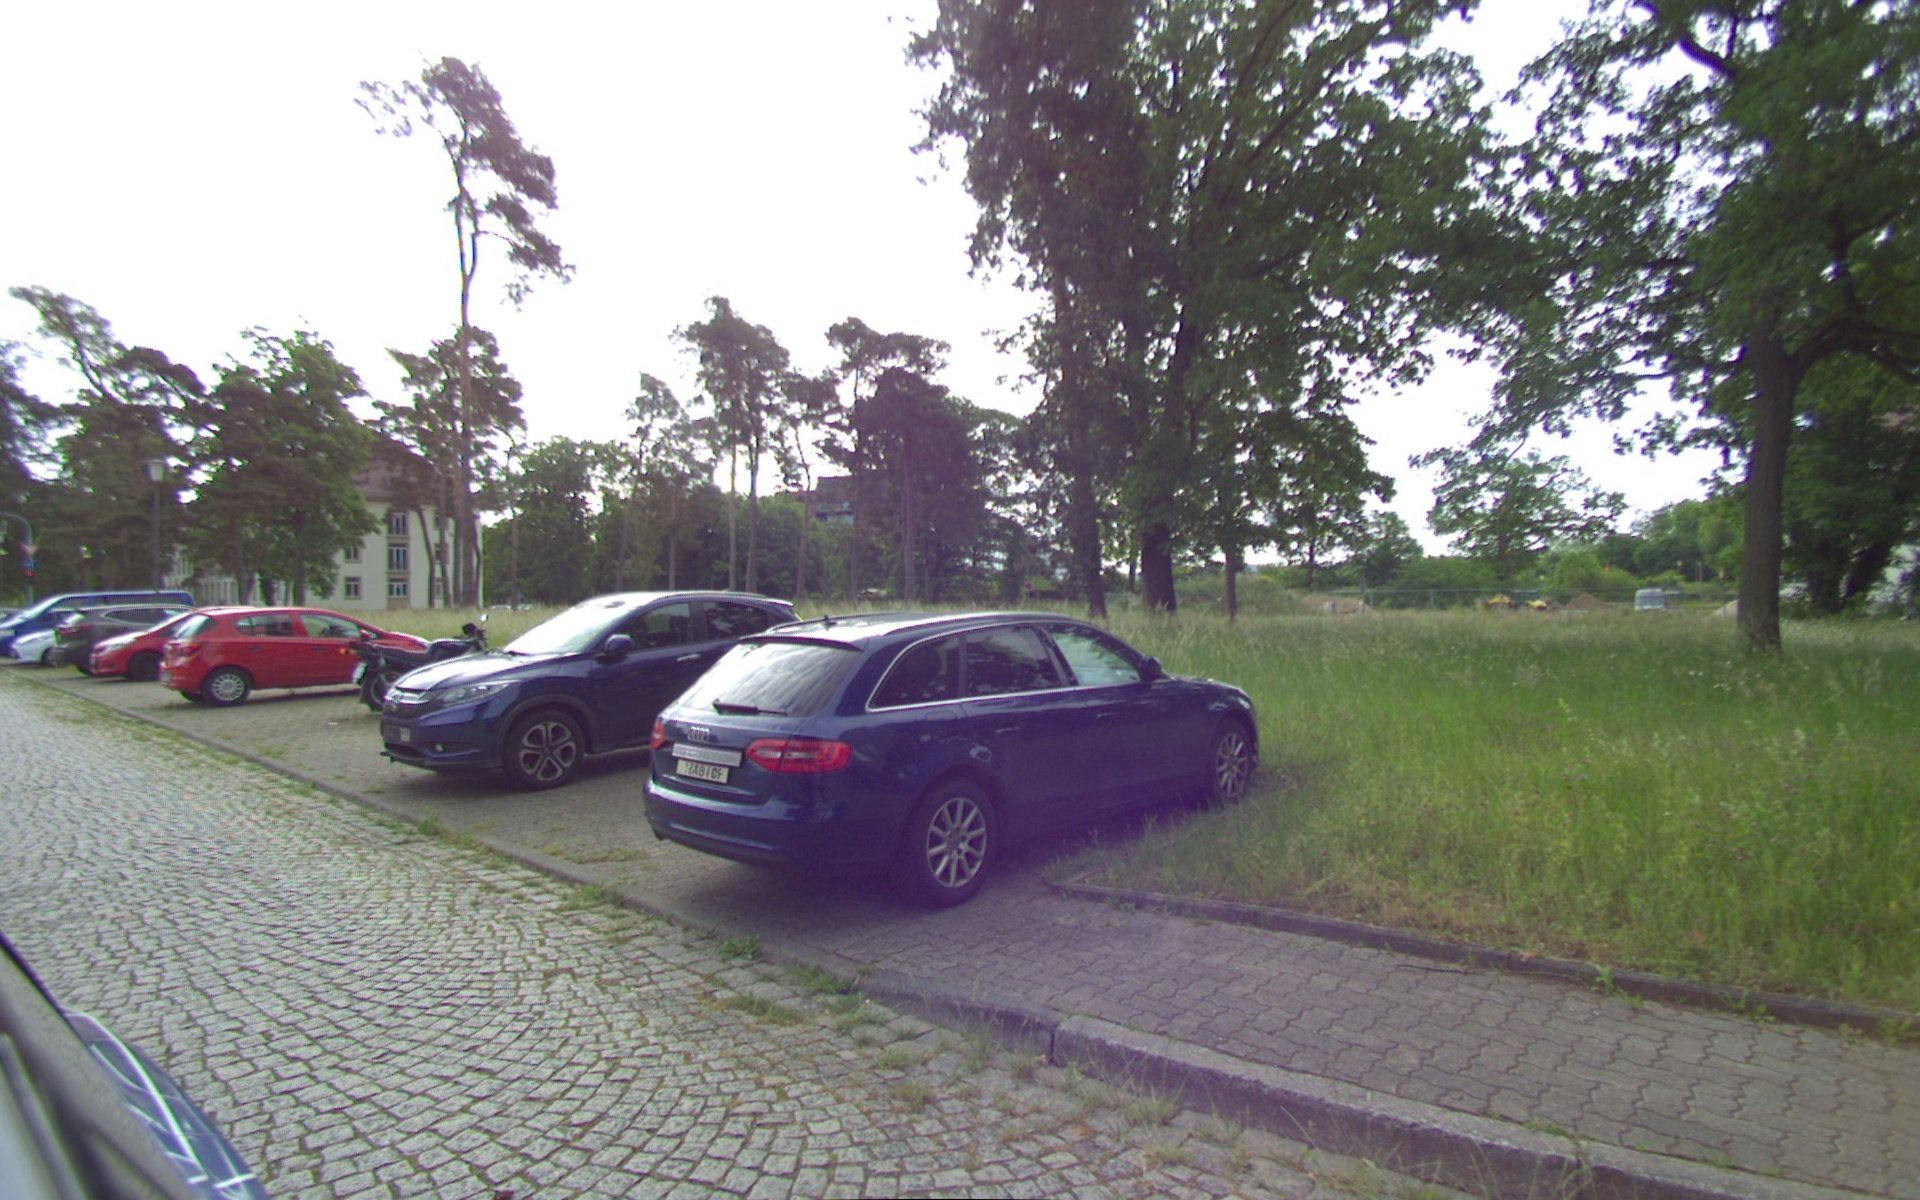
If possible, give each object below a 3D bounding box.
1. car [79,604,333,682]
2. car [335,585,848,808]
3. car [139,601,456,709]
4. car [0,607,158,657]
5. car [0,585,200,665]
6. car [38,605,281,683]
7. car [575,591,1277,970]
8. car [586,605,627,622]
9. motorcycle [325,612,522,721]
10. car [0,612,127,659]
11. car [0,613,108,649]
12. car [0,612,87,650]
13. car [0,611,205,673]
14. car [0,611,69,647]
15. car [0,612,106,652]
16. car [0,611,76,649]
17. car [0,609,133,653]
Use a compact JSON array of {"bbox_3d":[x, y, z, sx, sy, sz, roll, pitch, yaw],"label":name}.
[{"bbox_3d":[-16.252,0.858,21.975,1.906,1.522,4.123,-1,-1,40],"label":"car"},{"bbox_3d":[-3.243,0.693,9.597,1.886,1.589,4.185,-1,1,40],"label":"car"},{"bbox_3d":[-10.766,0.798,16.662,1.903,1.536,4.014,-1,-1,40],"label":"car"},{"bbox_3d":[-28.959,1.010,33.132,1.845,1.508,4.024,-1,-1,42],"label":"car"},{"bbox_3d":[-25.228,0.689,29.368,2.114,2.138,4.732,-1,-1,41],"label":"car"},{"bbox_3d":[-18.509,0.943,23.557,1.984,1.634,4.125,-1,-1,39],"label":"car"},{"bbox_3d":[0.097,0.733,6.355,1.975,1.472,4.256,-1,1,43],"label":"car"},{"bbox_3d":[-39.420,1.517,112.934,1.723,1.820,3.942,-1,-1,44],"label":"car"},{"bbox_3d":[-7.279,0.854,13.850,0.718,1.301,2.250,-1,1,42],"label":"motorcycle"},{"bbox_3d":[-31.362,1.181,34.695,1.865,1.503,4.120,-1,-1,43],"label":"car"},{"bbox_3d":[-35.337,1.162,38.629,1.831,1.276,4.121,-1,-1,43],"label":"car"},{"bbox_3d":[-38.919,1.261,41.623,1.934,1.519,4.330,-1,-1,39],"label":"car"},{"bbox_3d":[-23.334,1.083,27.594,1.780,1.522,4.124,-1,-1,39],"label":"car"},{"bbox_3d":[-42.806,1.307,45.491,1.904,1.554,3.946,-1,-1,40],"label":"car"},{"bbox_3d":[-36.941,1.249,40.395,1.864,1.487,4.123,-1,-1,41],"label":"car"},{"bbox_3d":[-40.948,1.278,43.470,1.933,1.560,4.209,-1,-1,38],"label":"car"},{"bbox_3d":[-33.125,1.096,37.125,1.845,1.493,4.121,-1,-1,42],"label":"car"}]
